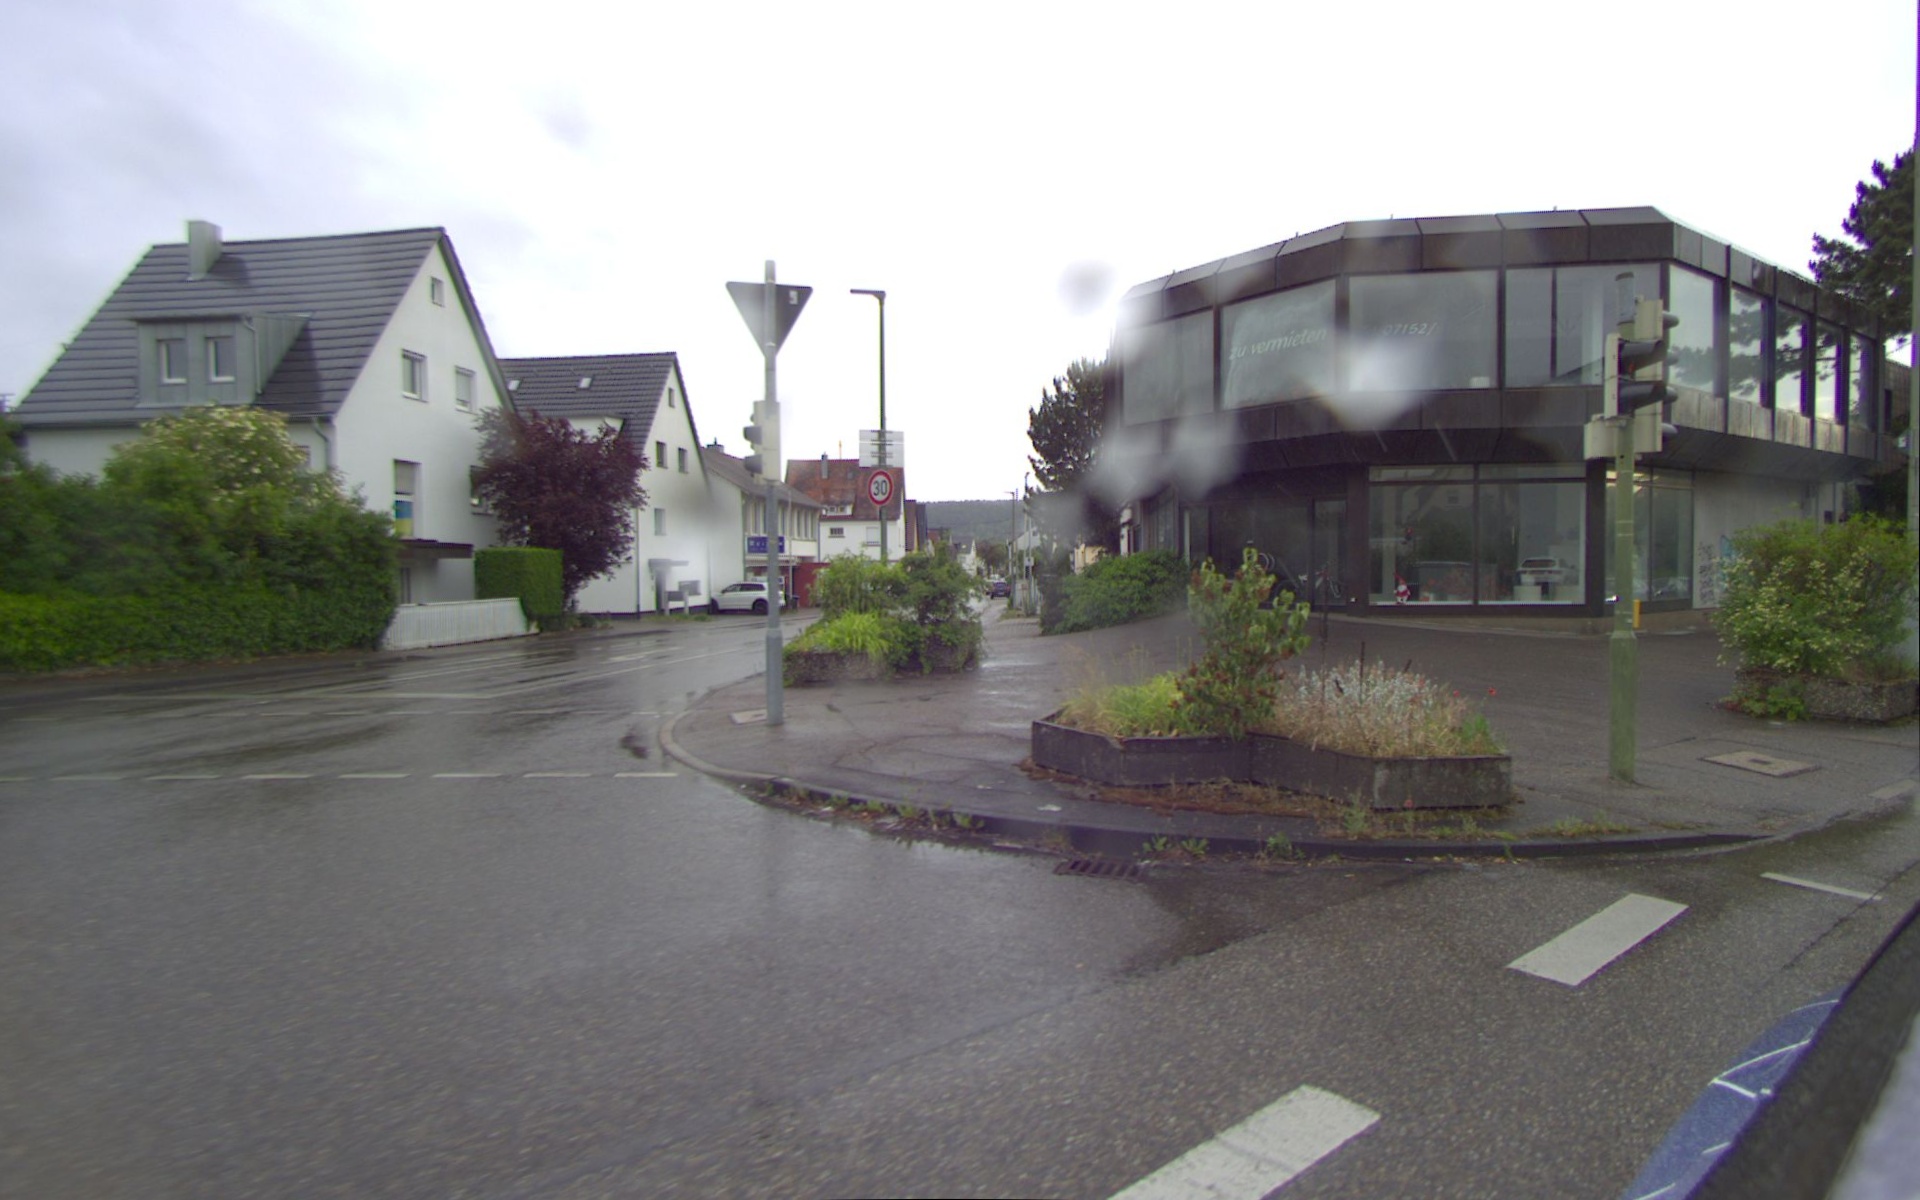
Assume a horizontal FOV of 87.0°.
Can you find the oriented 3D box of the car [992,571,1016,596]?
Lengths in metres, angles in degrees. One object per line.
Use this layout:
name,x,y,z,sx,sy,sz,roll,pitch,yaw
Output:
car,3.746,-1.412,85.110,1.964,2.038,3.997,0,1,4
